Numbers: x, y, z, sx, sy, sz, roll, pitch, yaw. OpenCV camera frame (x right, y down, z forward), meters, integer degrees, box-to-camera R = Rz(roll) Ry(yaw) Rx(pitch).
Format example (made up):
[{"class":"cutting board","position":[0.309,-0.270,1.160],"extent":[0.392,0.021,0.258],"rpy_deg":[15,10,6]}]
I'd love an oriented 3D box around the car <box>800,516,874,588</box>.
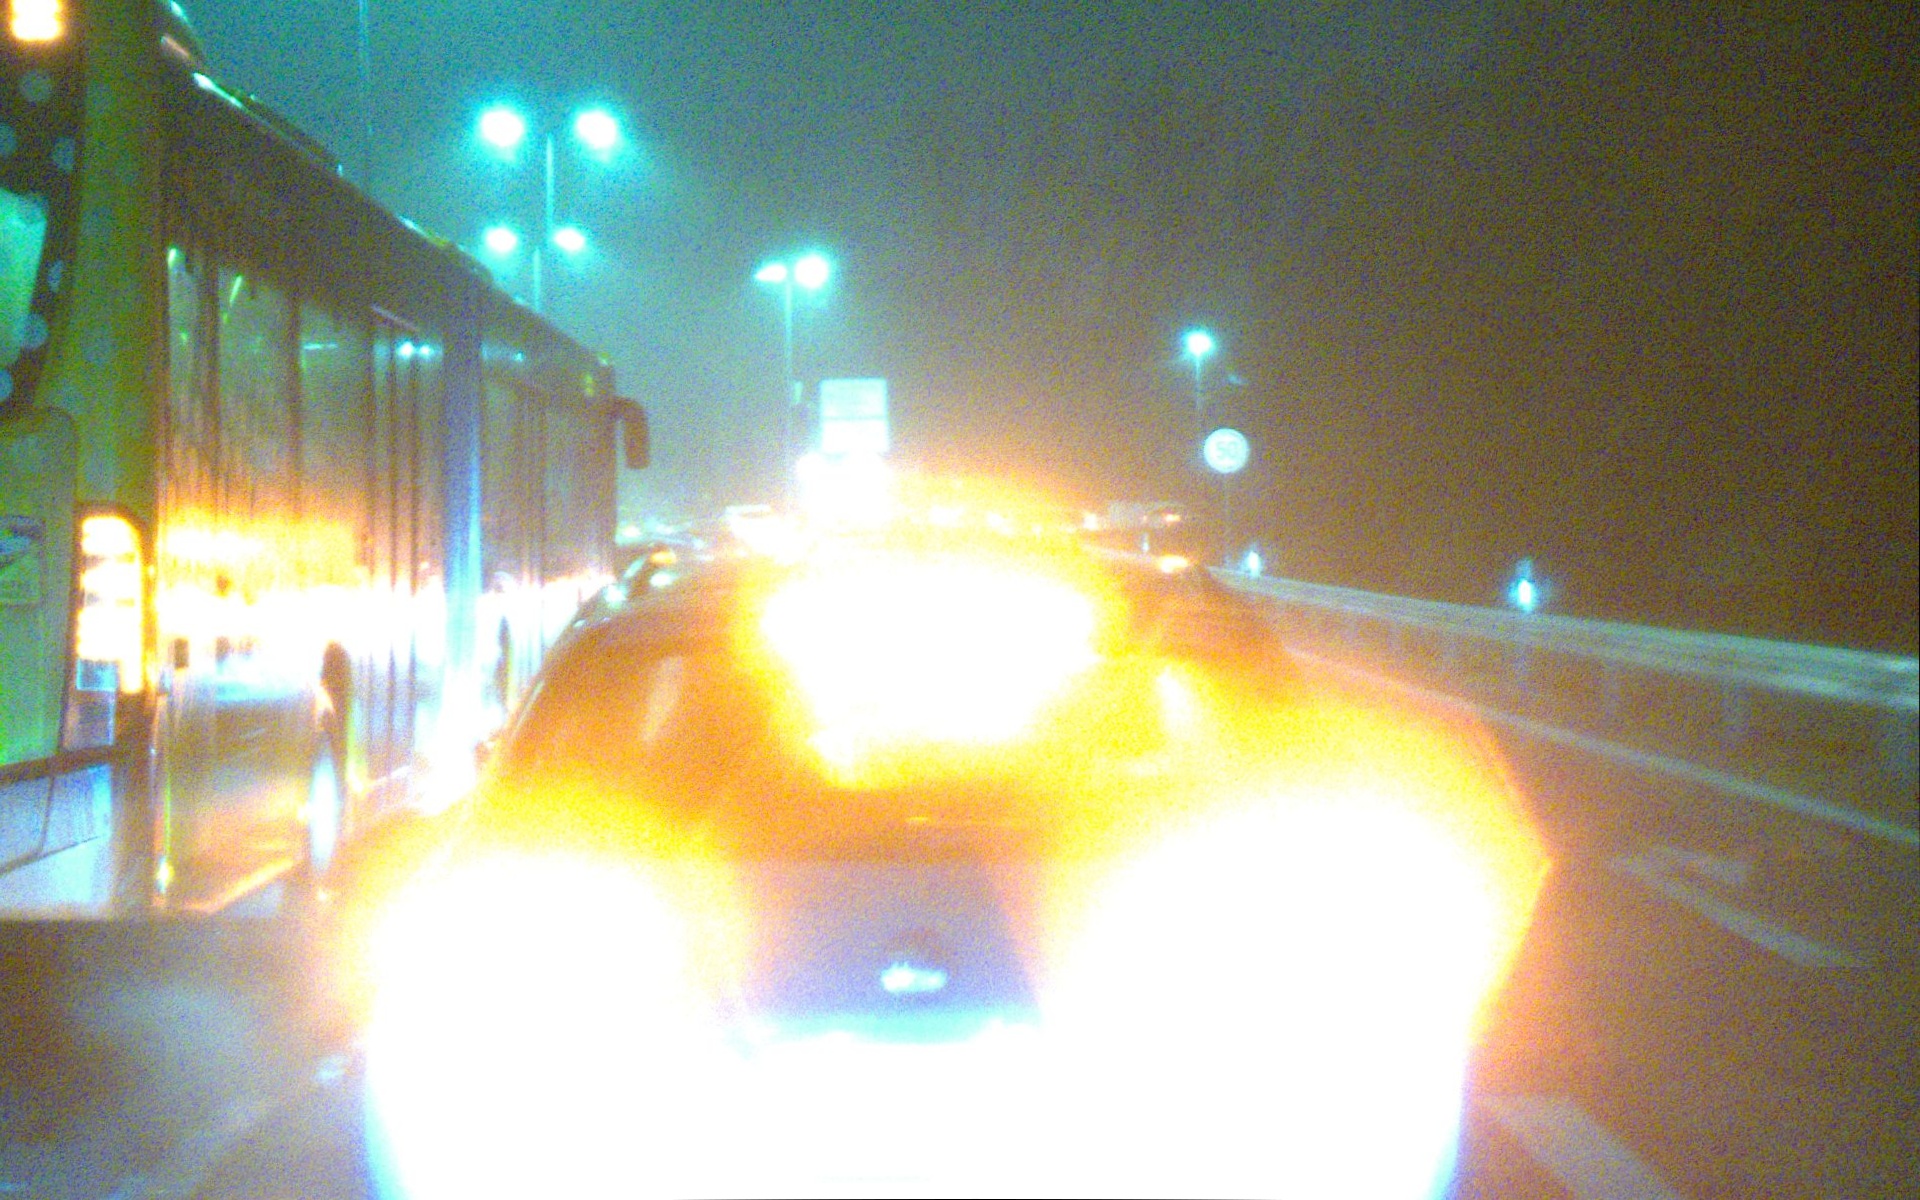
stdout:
[{"class":"car","position":[-3.474,-1.377,97.943],"extent":[1.993,2.007,4.000],"rpy_deg":[1,1,-1]}]

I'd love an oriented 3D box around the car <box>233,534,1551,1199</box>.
[{"class":"car","position":[-0.111,0.612,7.050],"extent":[1.821,1.479,4.568],"rpy_deg":[0,1,0]}]

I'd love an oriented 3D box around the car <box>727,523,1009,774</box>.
[{"class":"car","position":[-0.703,0.266,23.407],"extent":[1.739,1.559,3.777],"rpy_deg":[1,1,-4]}]

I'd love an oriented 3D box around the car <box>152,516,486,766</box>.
[{"class":"car","position":[-4.217,0.214,23.141],"extent":[1.779,1.538,3.875],"rpy_deg":[0,1,-4]}]

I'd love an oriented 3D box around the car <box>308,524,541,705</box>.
[{"class":"car","position":[-4.807,0.085,31.301],"extent":[1.779,1.538,3.875],"rpy_deg":[0,1,-4]}]

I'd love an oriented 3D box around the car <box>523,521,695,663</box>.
[{"class":"car","position":[-3.979,-0.123,39.472],"extent":[1.779,1.538,3.875],"rpy_deg":[0,1,-3]}]

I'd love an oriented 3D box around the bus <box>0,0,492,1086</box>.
[{"class":"bus","position":[-3.613,-0.334,13.245],"extent":[2.815,3.013,8.688],"rpy_deg":[0,1,-3]}]

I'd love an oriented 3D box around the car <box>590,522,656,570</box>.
[{"class":"car","position":[-11.939,-1.926,122.019],"extent":[1.993,1.634,4.000],"rpy_deg":[0,1,-1]}]

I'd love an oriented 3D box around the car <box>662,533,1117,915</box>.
[{"class":"car","position":[-0.372,0.431,15.511],"extent":[1.731,1.444,4.725],"rpy_deg":[0,1,-3]}]

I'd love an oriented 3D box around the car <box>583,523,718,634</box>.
[{"class":"car","position":[-4.459,-0.335,49.883],"extent":[1.779,1.538,3.875],"rpy_deg":[0,1,-3]}]

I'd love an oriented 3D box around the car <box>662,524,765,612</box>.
[{"class":"car","position":[-4.463,-0.606,62.229],"extent":[1.779,1.538,3.875],"rpy_deg":[0,1,-4]}]

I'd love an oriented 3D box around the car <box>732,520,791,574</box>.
[{"class":"car","position":[-6.793,-1.818,117.678],"extent":[1.816,1.791,3.803],"rpy_deg":[1,1,-1]}]
